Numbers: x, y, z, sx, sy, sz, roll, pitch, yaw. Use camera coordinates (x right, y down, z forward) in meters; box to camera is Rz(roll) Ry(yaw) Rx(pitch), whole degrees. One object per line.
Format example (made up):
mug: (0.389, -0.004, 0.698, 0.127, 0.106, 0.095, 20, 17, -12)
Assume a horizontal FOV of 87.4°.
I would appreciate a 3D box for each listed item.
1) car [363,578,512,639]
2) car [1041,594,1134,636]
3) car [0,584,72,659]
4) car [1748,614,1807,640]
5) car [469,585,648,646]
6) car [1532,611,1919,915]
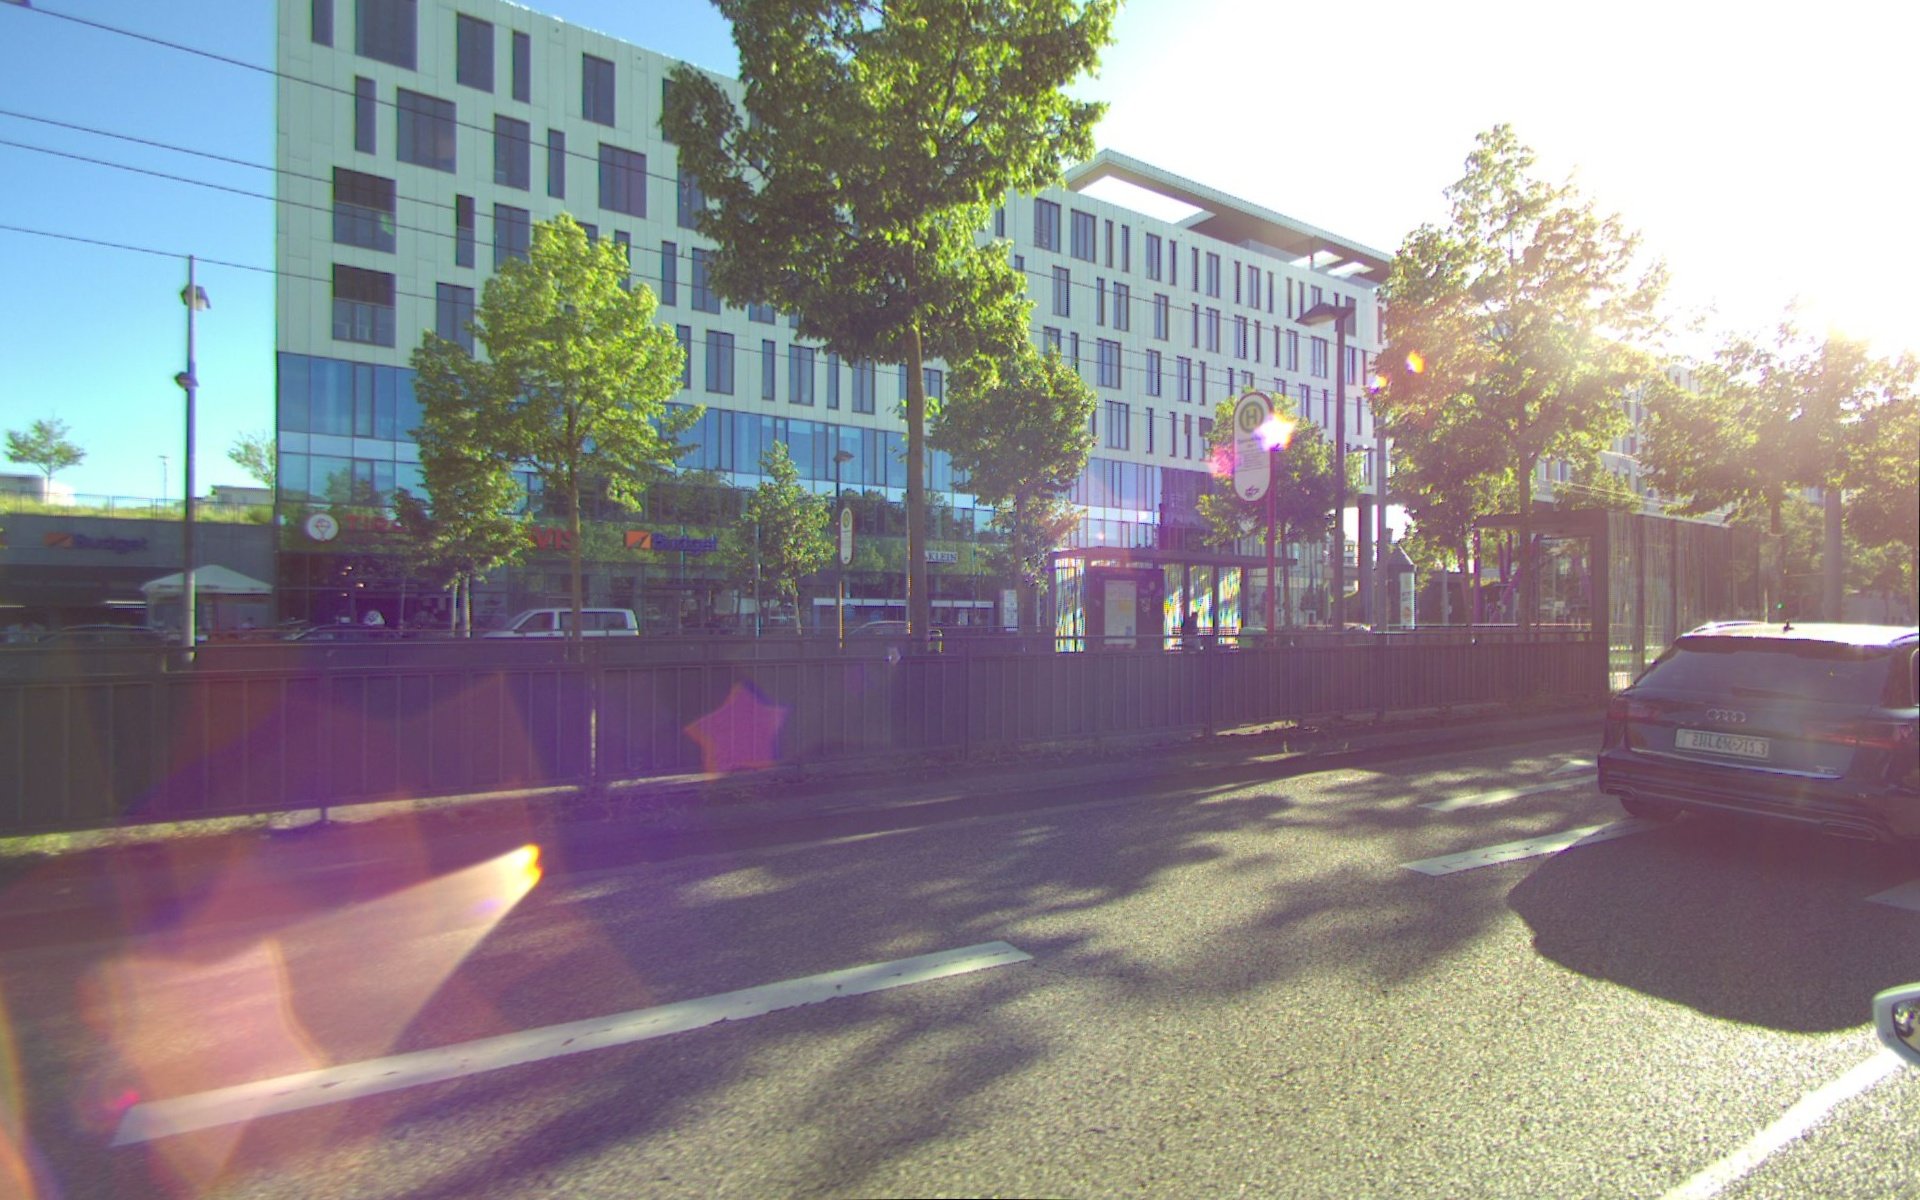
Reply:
car: (-18.590, 0.316, 35.795, 4.515, 2.040, 1.981, 2, 1, -34)
car: (6.539, 0.784, 51.346, 4.515, 2.040, 1.981, 2, 0, -34)
car: (-23.410, 0.442, 22.802, 4.562, 1.694, 1.981, 2, 0, -34)
car: (58.674, 1.952, 72.098, 3.953, 1.788, 1.984, 2, 0, -30)
car: (-12.272, 0.479, 30.828, 4.801, 1.737, 1.981, 2, 0, -34)
car: (6.471, 0.865, 7.273, 5.029, 1.500, 1.942, 1, 0, -33)
